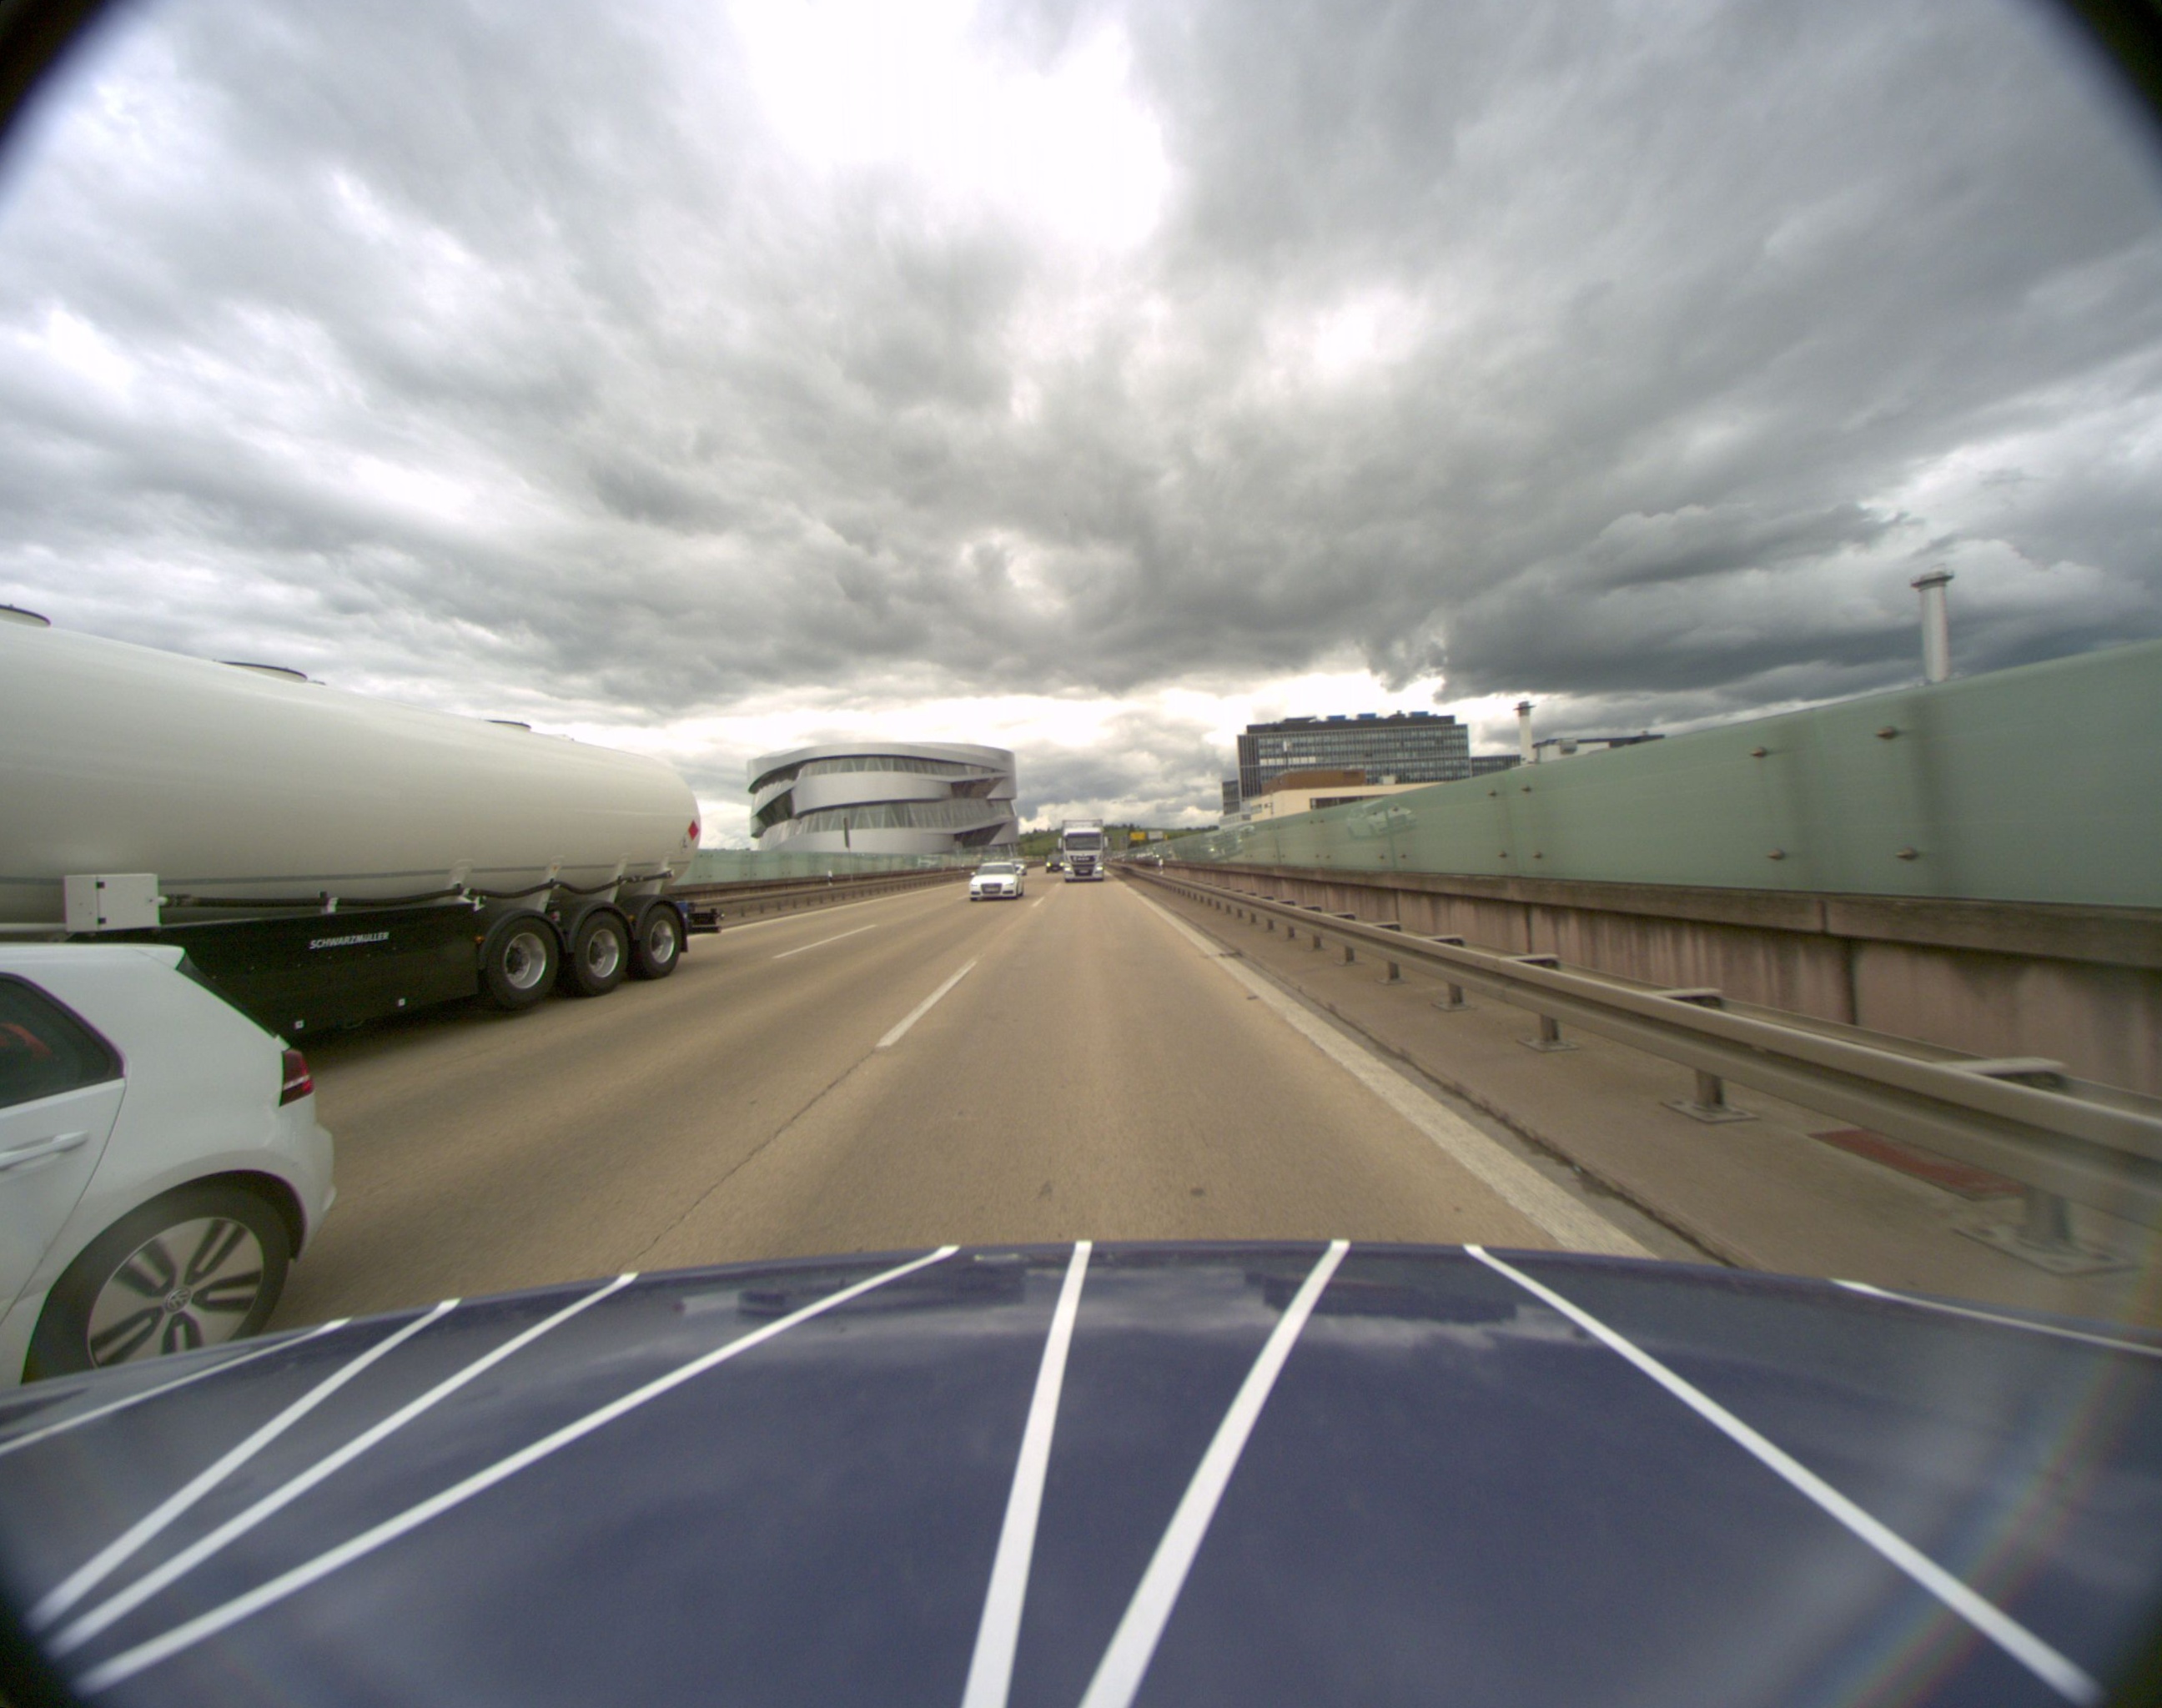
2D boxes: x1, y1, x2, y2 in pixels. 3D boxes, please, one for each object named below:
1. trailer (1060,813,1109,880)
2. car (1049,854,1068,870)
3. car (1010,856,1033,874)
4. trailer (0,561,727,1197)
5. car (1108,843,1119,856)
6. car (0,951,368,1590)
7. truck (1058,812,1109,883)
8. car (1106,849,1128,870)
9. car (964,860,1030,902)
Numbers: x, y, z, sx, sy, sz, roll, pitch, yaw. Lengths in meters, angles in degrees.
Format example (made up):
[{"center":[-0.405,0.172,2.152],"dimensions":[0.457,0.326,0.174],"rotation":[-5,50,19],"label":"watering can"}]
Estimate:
[{"center":[0.341,-0.485,52.610],"dimensions":[2.880,4.104,11.220],"rotation":[-2,0,1],"label":"trailer"},{"center":[-2.413,0.844,82.664],"dimensions":[1.765,1.624,3.627],"rotation":[-2,0,2],"label":"car"},{"center":[-5.714,1.012,73.530],"dimensions":[1.785,1.624,3.627],"rotation":[-2,0,2],"label":"car"},{"center":[-7.271,0.146,6.814],"dimensions":[2.657,3.523,11.219],"rotation":[-2,0,1],"label":"trailer"},{"center":[6.561,-0.919,154.816],"dimensions":[2.144,2.494,4.524],"rotation":[-2,1,1],"label":"car"},{"center":[-3.541,1.096,0.770],"dimensions":[1.759,1.443,4.072],"rotation":[-1,0,0],"label":"car"},{"center":[0.249,-0.407,48.569],"dimensions":[2.946,4.136,6.291],"rotation":[-2,0,2],"label":"truck"},{"center":[3.648,0.524,77.806],"dimensions":[1.998,2.002,4.000],"rotation":[-2,0,0],"label":"car"},{"center":[-3.169,1.002,29.408],"dimensions":[1.848,1.443,3.933],"rotation":[-2,0,3],"label":"car"}]
